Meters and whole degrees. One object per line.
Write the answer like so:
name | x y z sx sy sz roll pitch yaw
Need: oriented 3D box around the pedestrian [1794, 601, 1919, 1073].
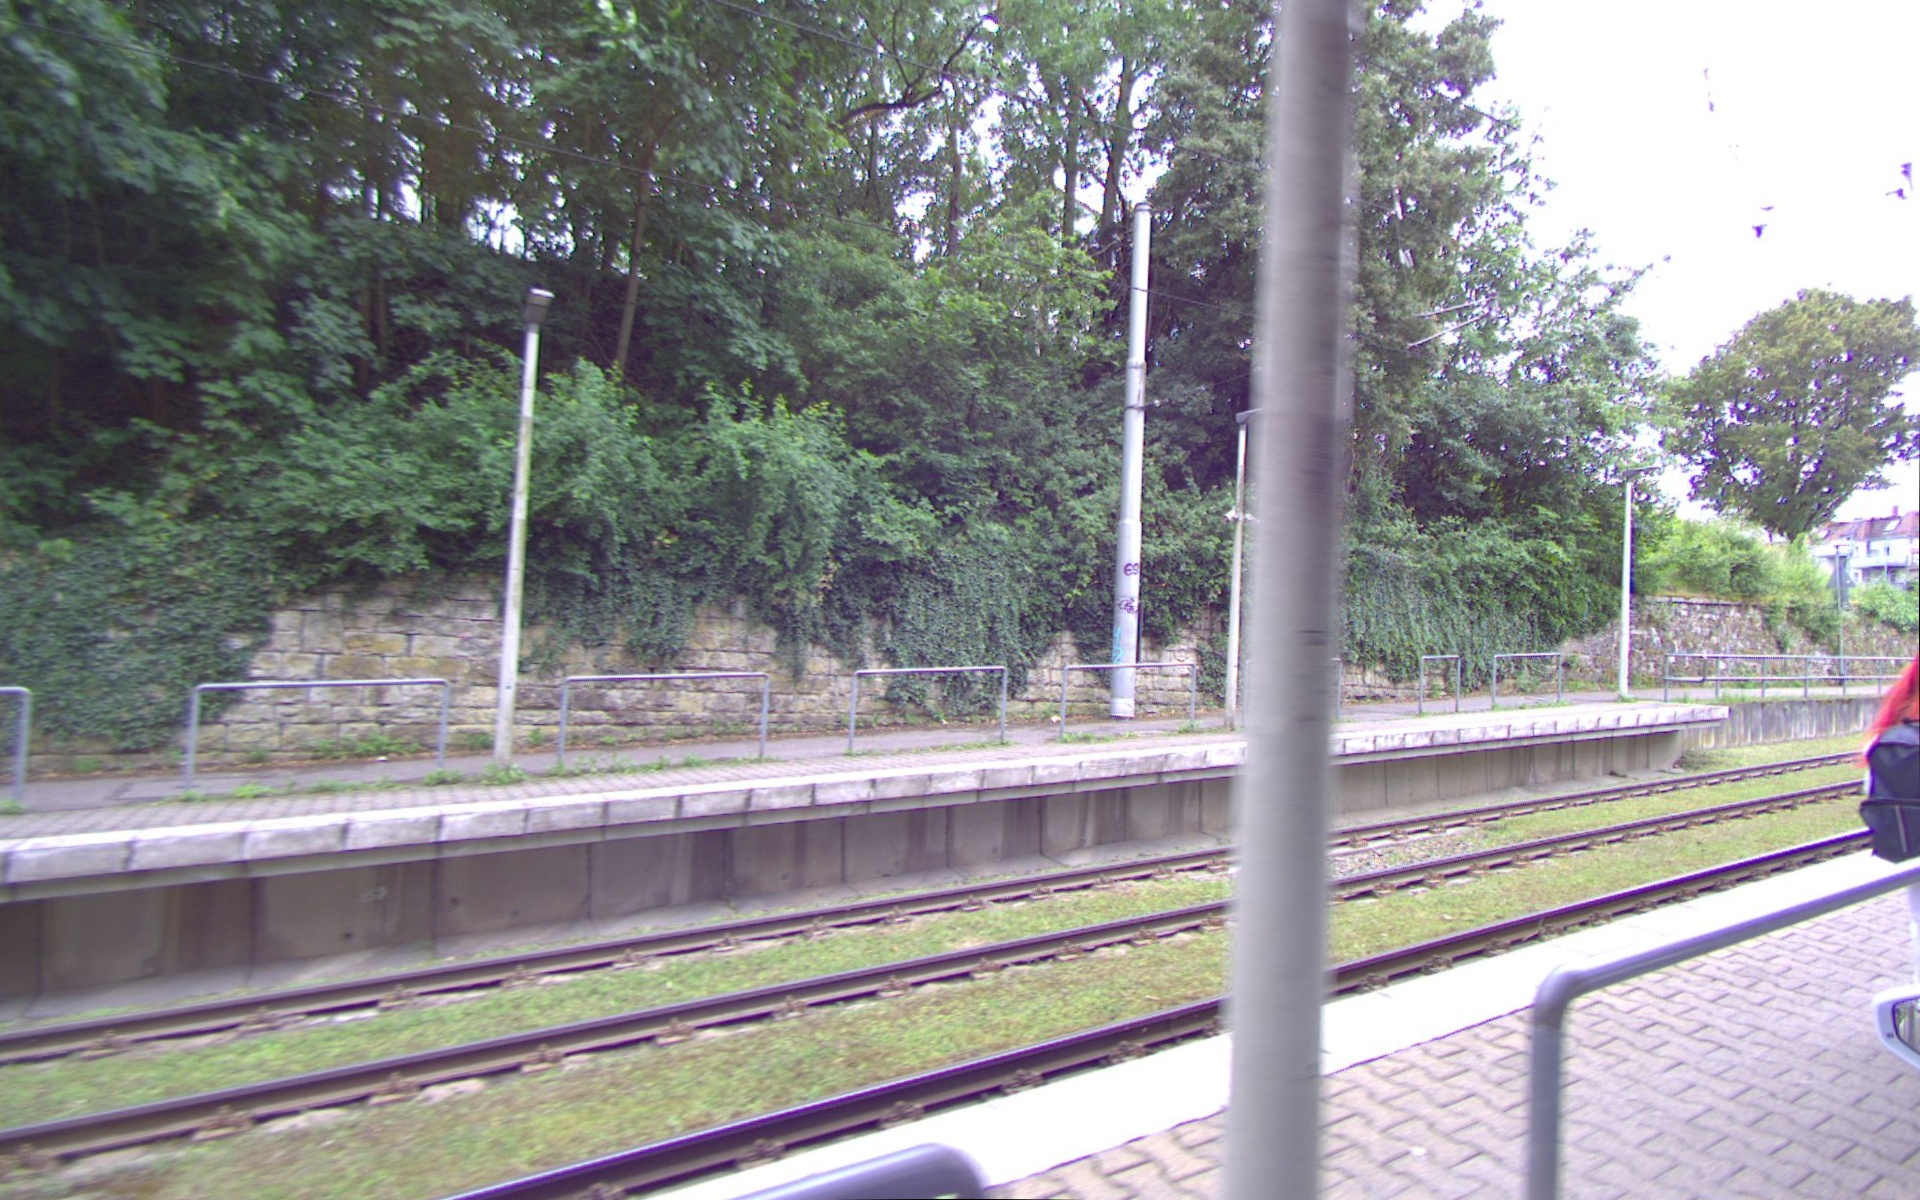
pedestrian | 3.396 0.769 3.457 0.731 1.522 0.621 1 0 -33
